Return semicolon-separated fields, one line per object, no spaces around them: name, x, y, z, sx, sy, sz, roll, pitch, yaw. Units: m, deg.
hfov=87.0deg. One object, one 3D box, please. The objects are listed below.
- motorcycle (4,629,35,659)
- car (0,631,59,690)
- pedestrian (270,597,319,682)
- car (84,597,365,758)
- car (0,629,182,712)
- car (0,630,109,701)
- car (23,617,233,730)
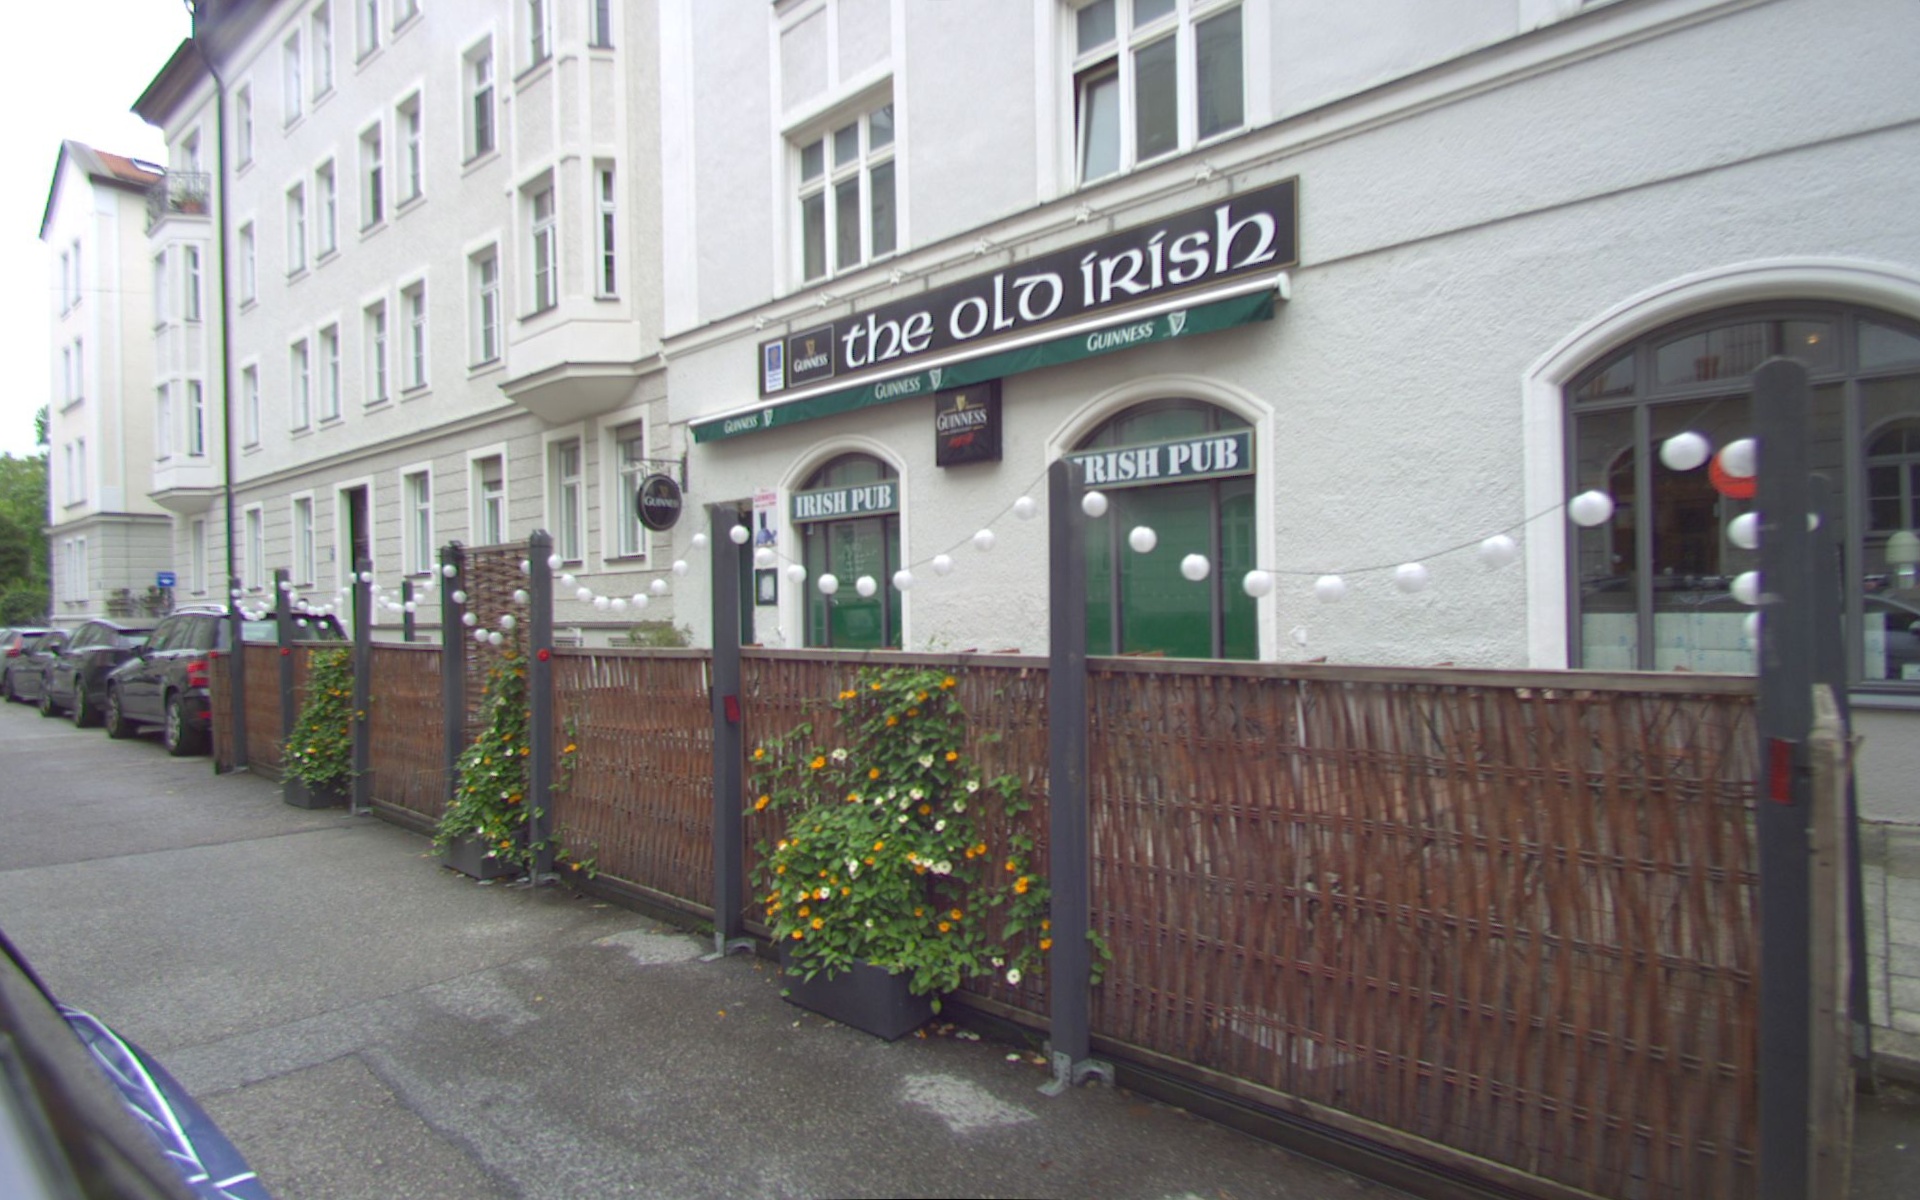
motorcycle;-41.034;1.908;44.162;1.818;1.259;0.698;-1;1;38
car;-24.843;1.535;25.889;4.694;1.377;1.832;-2;0;37
pedestrian;-13.955;0.814;21.244;0.654;1.720;0.702;-1;0;-17
car;-9.260;0.902;12.627;4.270;1.686;1.729;-2;-4;39
car;-16.560;1.265;19.109;4.434;1.396;1.794;-2;-2;36
car;-20.641;1.399;22.528;4.506;1.430;1.776;-1;-3;40
car;-12.975;1.054;15.692;4.176;1.498;1.725;-2;-1;39
